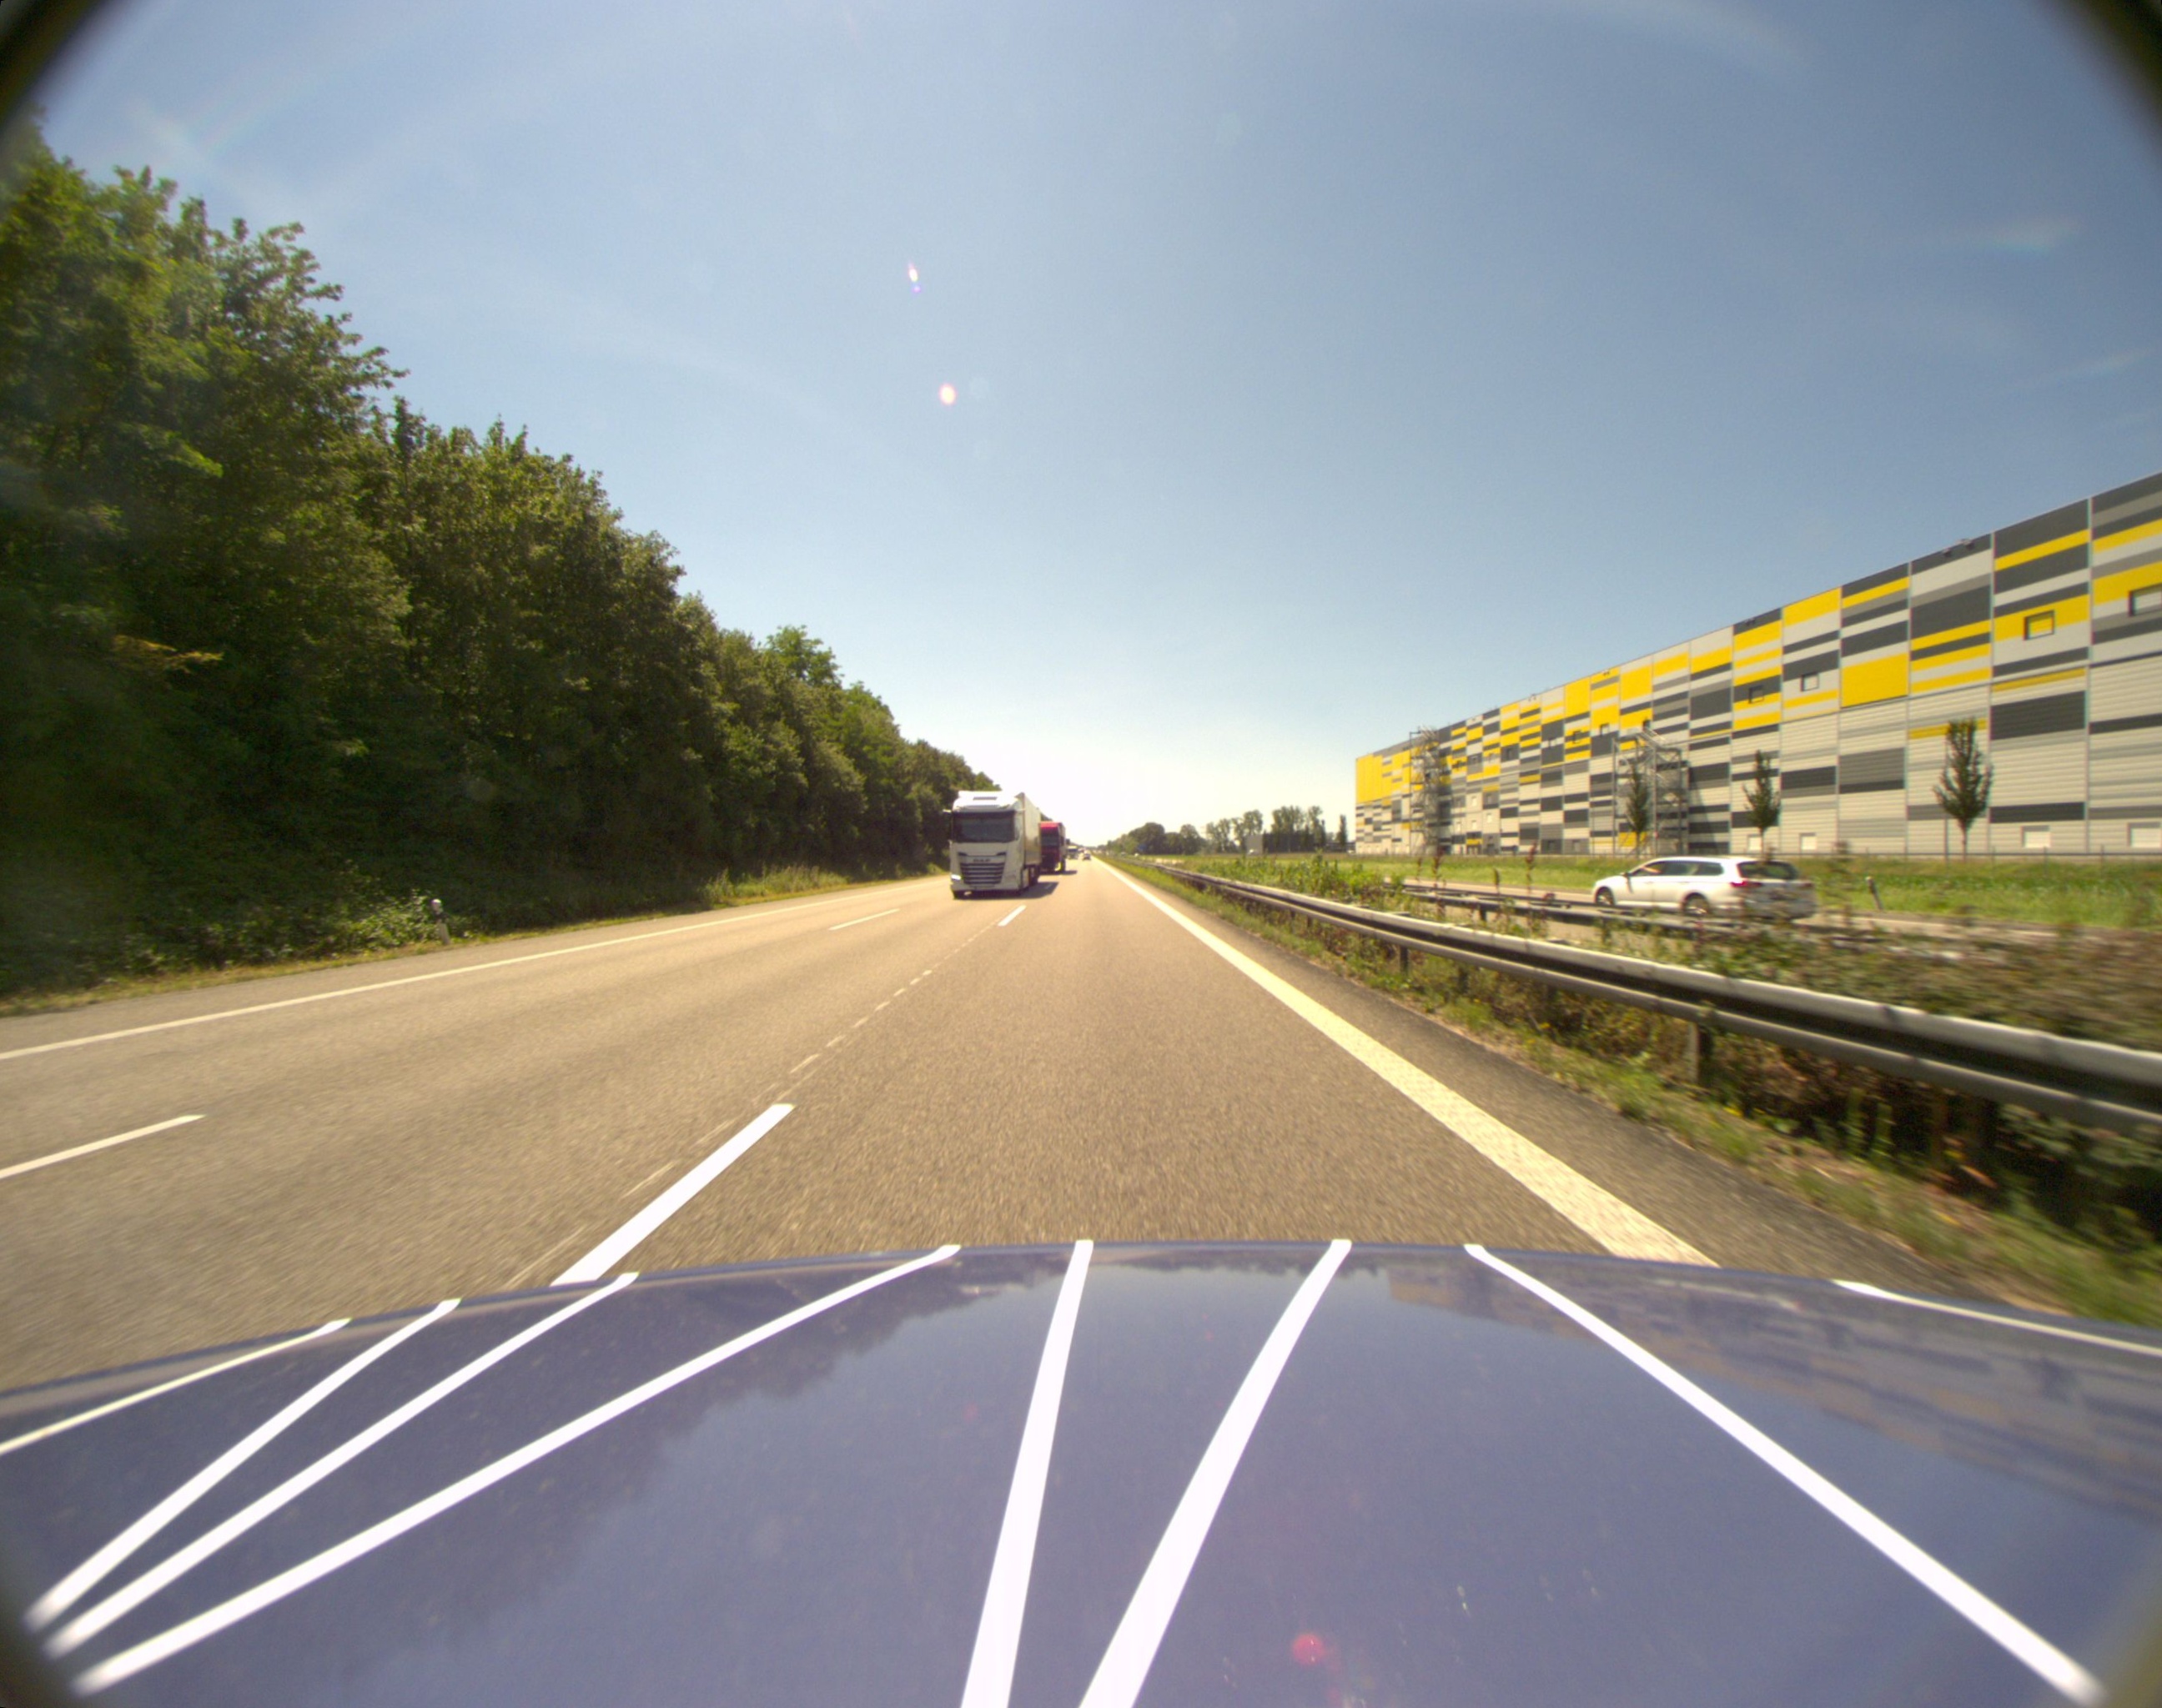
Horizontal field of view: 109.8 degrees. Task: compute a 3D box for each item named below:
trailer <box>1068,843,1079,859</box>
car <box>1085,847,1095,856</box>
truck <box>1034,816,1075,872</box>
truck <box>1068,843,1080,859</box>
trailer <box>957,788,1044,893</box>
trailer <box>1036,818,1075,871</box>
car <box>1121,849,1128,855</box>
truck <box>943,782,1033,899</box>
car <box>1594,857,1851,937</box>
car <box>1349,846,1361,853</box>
[{"bbox_3d":[-2.012,-0.827,211.846,3.005,4.046,13.833,-2,0,0],"label":"trailer"},{"bbox_3d":[1.866,-0.500,161.025,2.073,1.959,5.109,0,0,-1],"label":"car"},{"bbox_3d":[-1.980,-0.744,58.354,2.870,4.046,5.770,-2,1,-1],"label":"truck"},{"bbox_3d":[-1.968,-0.793,204.222,2.999,4.046,5.770,-2,1,0],"label":"truck"},{"bbox_3d":[-3.497,-0.565,36.819,2.684,4.046,13.833,-2,0,0],"label":"trailer"},{"bbox_3d":[-2.134,-0.772,65.468,2.886,4.046,13.832,-2,0,-1],"label":"trailer"},{"bbox_3d":[11.938,-0.633,207.275,1.661,1.573,4.334,1,0,1],"label":"car"},{"bbox_3d":[-3.471,-0.483,29.849,2.684,4.046,6.048,-2,1,0],"label":"truck"},{"bbox_3d":[13.585,0.817,16.559,1.637,1.419,4.660,1,0,0],"label":"car"},{"bbox_3d":[72.970,-1.211,202.367,1.832,1.726,4.268,0,0,0],"label":"car"}]
